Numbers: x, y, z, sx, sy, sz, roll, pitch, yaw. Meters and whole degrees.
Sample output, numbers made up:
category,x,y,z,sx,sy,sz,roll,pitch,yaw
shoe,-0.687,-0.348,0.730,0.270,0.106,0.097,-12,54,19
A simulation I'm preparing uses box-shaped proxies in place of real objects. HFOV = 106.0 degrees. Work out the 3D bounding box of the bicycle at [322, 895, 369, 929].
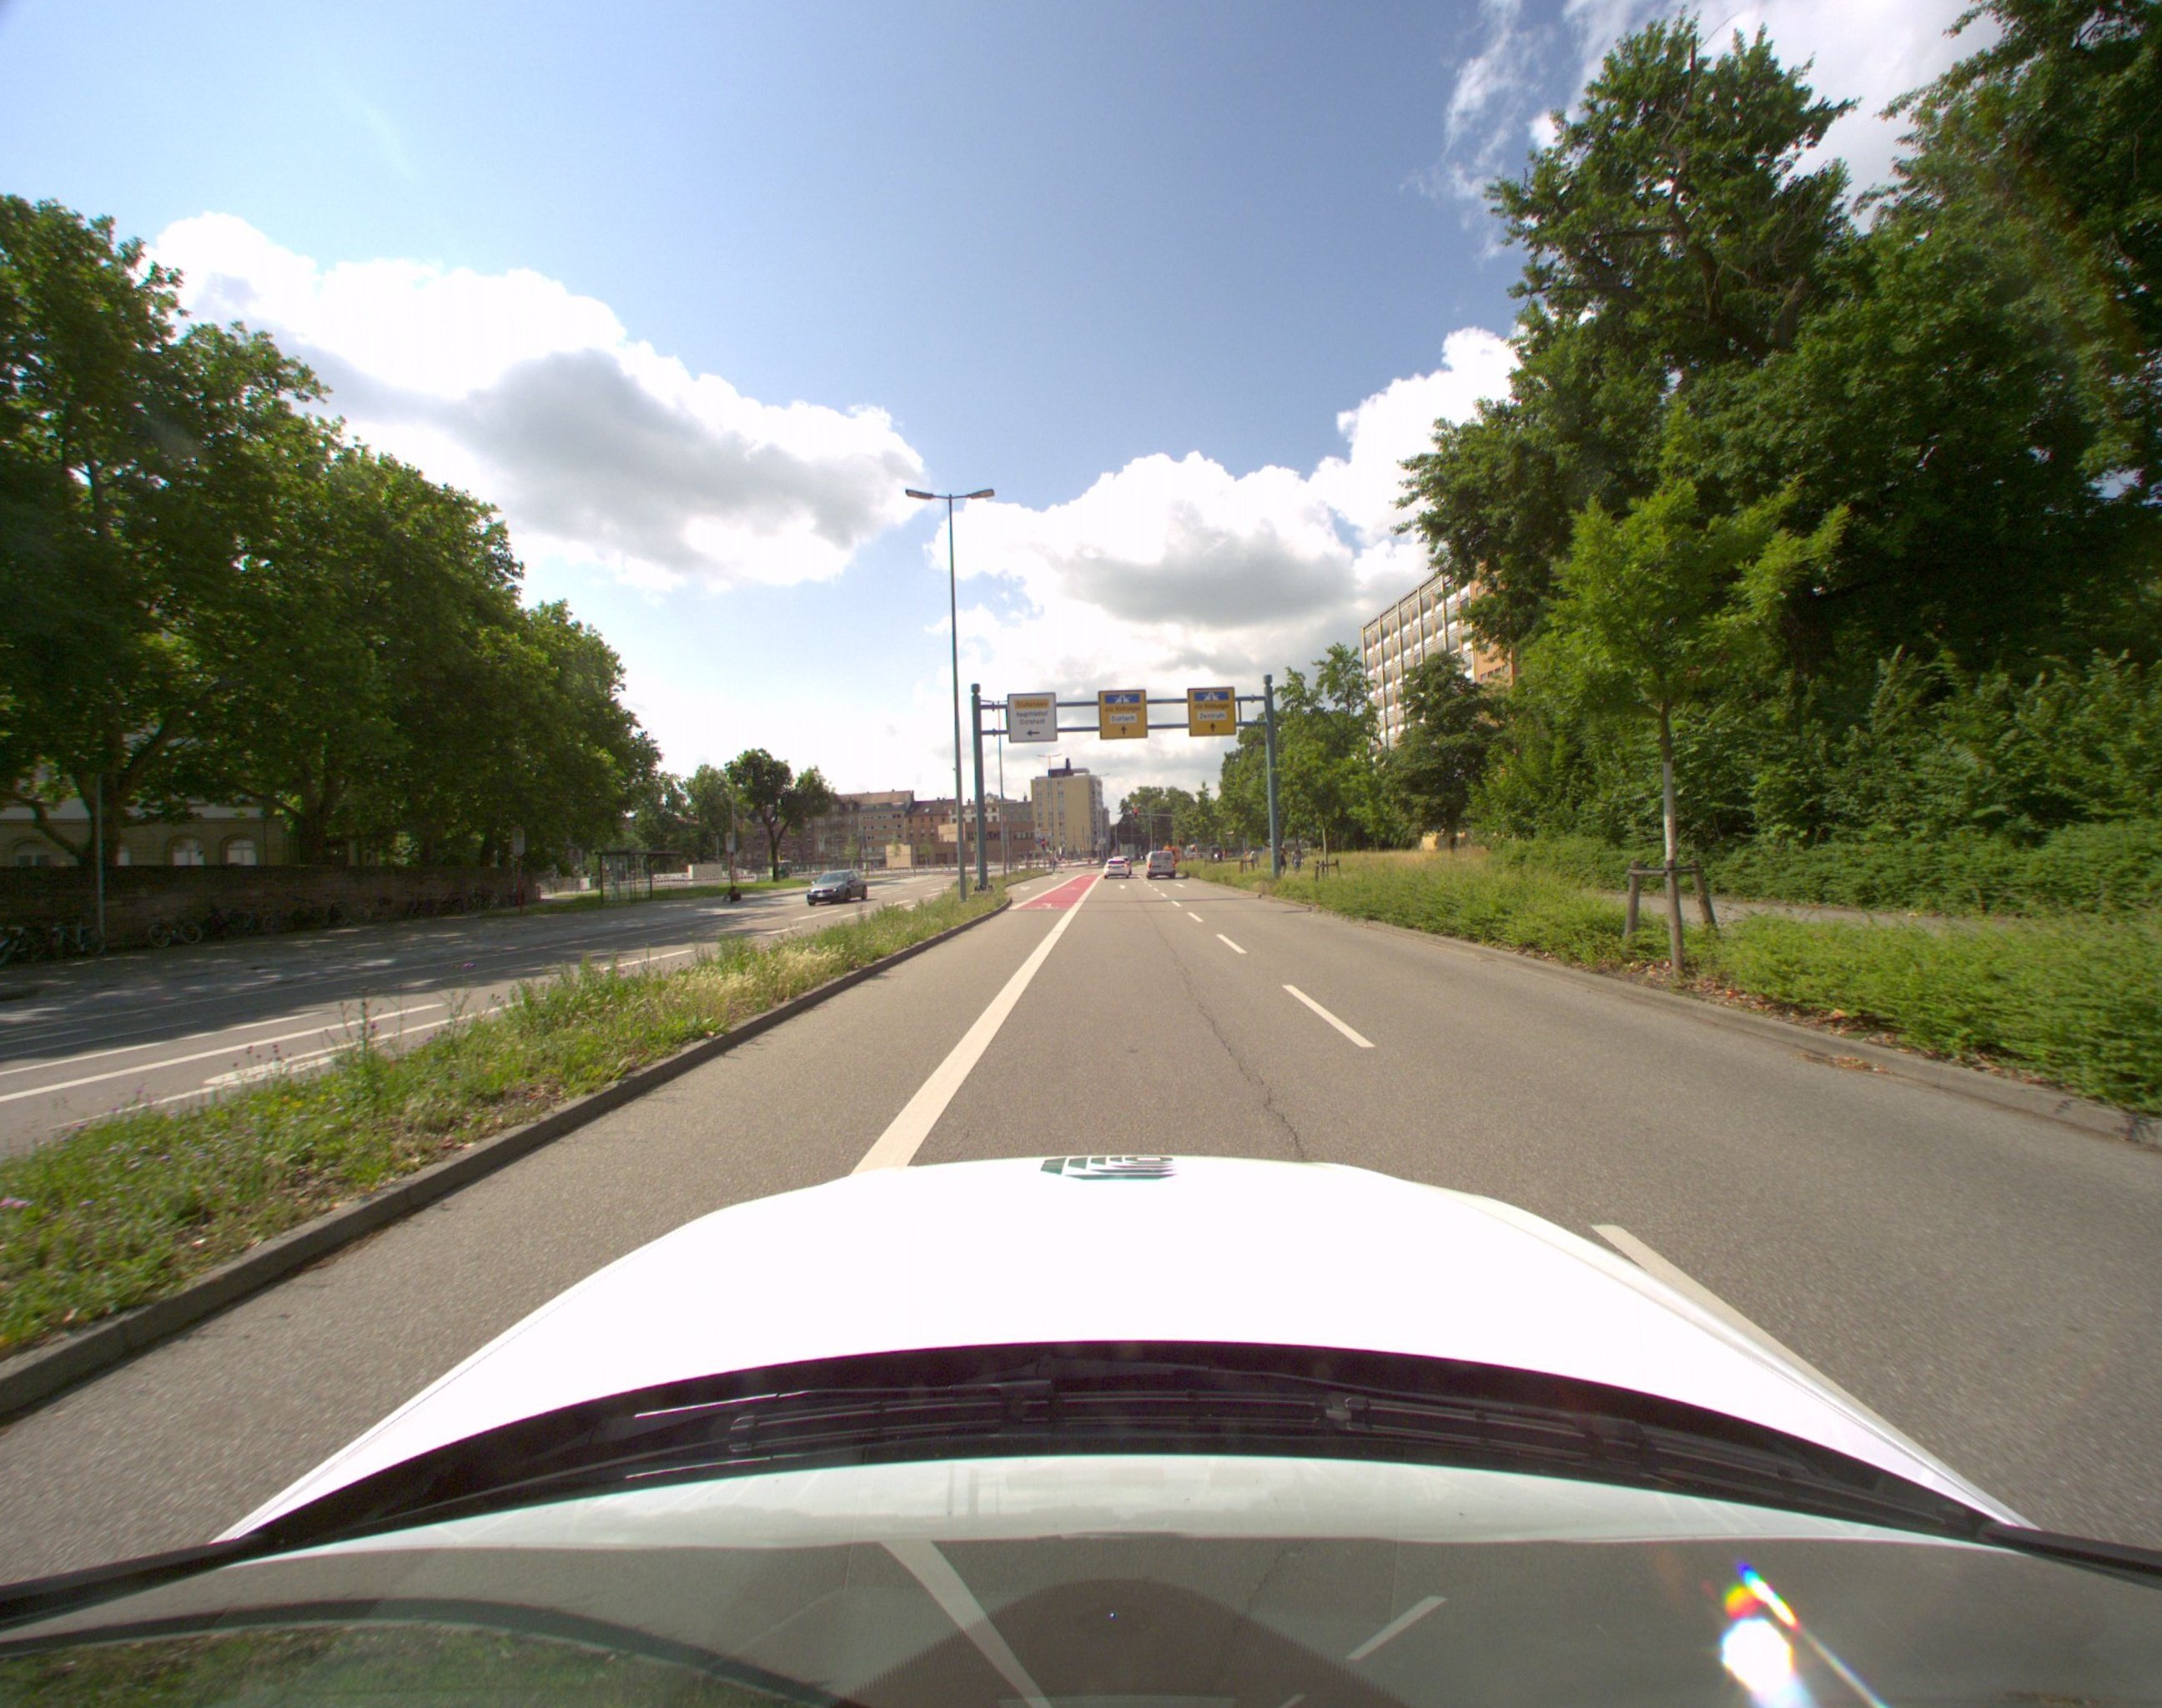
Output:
category,x,y,z,sx,sy,sz,roll,pitch,yaw
bicycle,-26.331,2.053,29.181,0.584,1.073,1.744,-2,0,-20

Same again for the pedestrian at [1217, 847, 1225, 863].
category,x,y,z,sx,sy,sz,roll,pitch,yaw
pedestrian,15.171,0.087,88.109,0.739,1.735,0.680,-2,-1,6

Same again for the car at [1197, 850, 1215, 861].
category,x,y,z,sx,sy,sz,roll,pitch,yaw
car,22.445,0.289,146.431,1.975,1.826,4.024,-3,-1,28

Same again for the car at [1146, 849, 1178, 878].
category,x,y,z,sx,sy,sz,roll,pitch,yaw
car,5.566,0.603,56.563,1.934,1.870,4.829,-2,0,3

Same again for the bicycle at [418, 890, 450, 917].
category,x,y,z,sx,sy,sz,roll,pitch,yaw
bicycle,-28.667,2.177,36.078,0.584,1.073,1.620,-2,0,-20

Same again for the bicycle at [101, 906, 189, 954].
category,x,y,z,sx,sy,sz,roll,pitch,yaw
bicycle,-24.290,1.947,21.176,0.583,1.073,1.747,-2,0,-14

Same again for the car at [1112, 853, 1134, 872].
category,x,y,z,sx,sy,sz,roll,pitch,yaw
car,3.534,0.704,68.169,1.783,1.539,4.014,-1,0,3

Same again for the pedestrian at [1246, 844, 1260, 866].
category,x,y,z,sx,sy,sz,roll,pitch,yaw
pedestrian,12.715,0.075,60.171,0.864,1.638,0.721,-2,-1,4

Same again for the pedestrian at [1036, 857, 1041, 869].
category,x,y,z,sx,sy,sz,roll,pitch,yaw
pedestrian,-5.875,1.234,111.890,0.521,1.733,0.626,-2,0,12

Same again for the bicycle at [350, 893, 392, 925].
category,x,y,z,sx,sy,sz,roll,pitch,yaw
bicycle,-26.962,2.074,30.943,0.584,1.073,1.744,-2,0,-20

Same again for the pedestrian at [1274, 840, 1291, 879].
category,x,y,z,sx,sy,sz,roll,pitch,yaw
pedestrian,9.444,0.271,38.201,0.565,1.801,0.639,-2,0,2

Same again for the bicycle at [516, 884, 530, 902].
category,x,y,z,sx,sy,sz,roll,pitch,yaw
bicycle,-34.159,2.390,49.857,0.353,1.011,1.246,-2,0,-19

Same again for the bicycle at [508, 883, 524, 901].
category,x,y,z,sx,sy,sz,roll,pitch,yaw
bicycle,-33.672,2.248,48.546,0.392,1.011,1.361,-2,0,-19

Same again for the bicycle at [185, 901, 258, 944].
category,x,y,z,sx,sy,sz,roll,pitch,yaw
bicycle,-24.959,1.968,23.694,0.583,1.073,1.747,-2,0,-14

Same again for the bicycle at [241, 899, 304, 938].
category,x,y,z,sx,sy,sz,roll,pitch,yaw
bicycle,-25.460,2.001,25.667,0.583,1.073,1.747,-2,0,-15

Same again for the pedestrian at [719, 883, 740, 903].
category,x,y,z,sx,sy,sz,roll,pitch,yaw
pedestrian,-17.726,1.946,41.080,0.692,0.963,0.743,-2,0,0

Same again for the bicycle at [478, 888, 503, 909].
category,x,y,z,sx,sy,sz,roll,pitch,yaw
bicycle,-31.405,2.340,43.335,0.472,1.011,1.951,-2,0,-19

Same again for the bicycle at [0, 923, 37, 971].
category,x,y,z,sx,sy,sz,roll,pitch,yaw
bicycle,-22.760,1.978,16.715,0.364,0.955,1.629,-2,0,11

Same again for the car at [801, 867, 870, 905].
category,x,y,z,sx,sy,sz,roll,pitch,yaw
car,-11.046,1.403,36.896,1.694,1.445,4.147,-4,0,1

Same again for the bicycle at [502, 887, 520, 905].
category,x,y,z,sx,sy,sz,roll,pitch,yaw
bicycle,-33.033,2.426,47.207,0.472,1.011,1.447,-2,0,-19

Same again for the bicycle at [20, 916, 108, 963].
category,x,y,z,sx,sy,sz,roll,pitch,yaw
bicycle,-24.054,2.000,19.297,0.370,0.955,1.619,-2,0,-14

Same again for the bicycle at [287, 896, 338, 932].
category,x,y,z,sx,sy,sz,roll,pitch,yaw
bicycle,-25.864,1.997,27.441,0.584,1.073,1.744,-2,0,-20

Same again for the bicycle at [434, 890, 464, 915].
category,x,y,z,sx,sy,sz,roll,pitch,yaw
bicycle,-29.280,2.240,37.730,0.584,1.073,1.620,-2,0,-20

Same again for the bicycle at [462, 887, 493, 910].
category,x,y,z,sx,sy,sz,roll,pitch,yaw
bicycle,-30.561,2.230,41.253,0.583,1.073,1.860,-2,0,-15

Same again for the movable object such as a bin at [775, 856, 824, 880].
category,x,y,z,sx,sy,sz,roll,pitch,yaw
movable object such as a bin,-36.629,1.826,106.034,5.575,2.885,2.259,-2,-1,-45

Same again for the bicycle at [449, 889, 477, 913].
category,x,y,z,sx,sy,sz,roll,pitch,yaw
bicycle,-29.887,2.252,39.429,0.584,1.073,1.620,-2,0,-20

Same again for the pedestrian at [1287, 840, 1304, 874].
category,x,y,z,sx,sy,sz,roll,pitch,yaw
pedestrian,10.130,0.130,38.479,0.620,1.581,0.709,-2,0,2

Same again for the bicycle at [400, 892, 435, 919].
category,x,y,z,sx,sy,sz,roll,pitch,yaw
bicycle,-28.085,2.167,34.491,0.584,1.073,1.620,-2,0,-20

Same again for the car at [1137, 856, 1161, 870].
category,x,y,z,sx,sy,sz,roll,pitch,yaw
car,9.031,1.222,107.535,1.976,1.816,4.021,0,-1,22

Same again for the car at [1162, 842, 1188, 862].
category,x,y,z,sx,sy,sz,roll,pitch,yaw
car,13.799,-0.264,119.154,2.110,2.780,4.666,-3,-1,26

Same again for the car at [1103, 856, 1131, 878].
category,x,y,z,sx,sy,sz,roll,pitch,yaw
car,2.671,0.922,59.523,1.896,1.424,4.388,-2,0,3

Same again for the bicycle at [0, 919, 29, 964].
category,x,y,z,sx,sy,sz,roll,pitch,yaw
bicycle,-23.839,1.946,17.700,0.367,0.955,1.395,-2,0,-14
